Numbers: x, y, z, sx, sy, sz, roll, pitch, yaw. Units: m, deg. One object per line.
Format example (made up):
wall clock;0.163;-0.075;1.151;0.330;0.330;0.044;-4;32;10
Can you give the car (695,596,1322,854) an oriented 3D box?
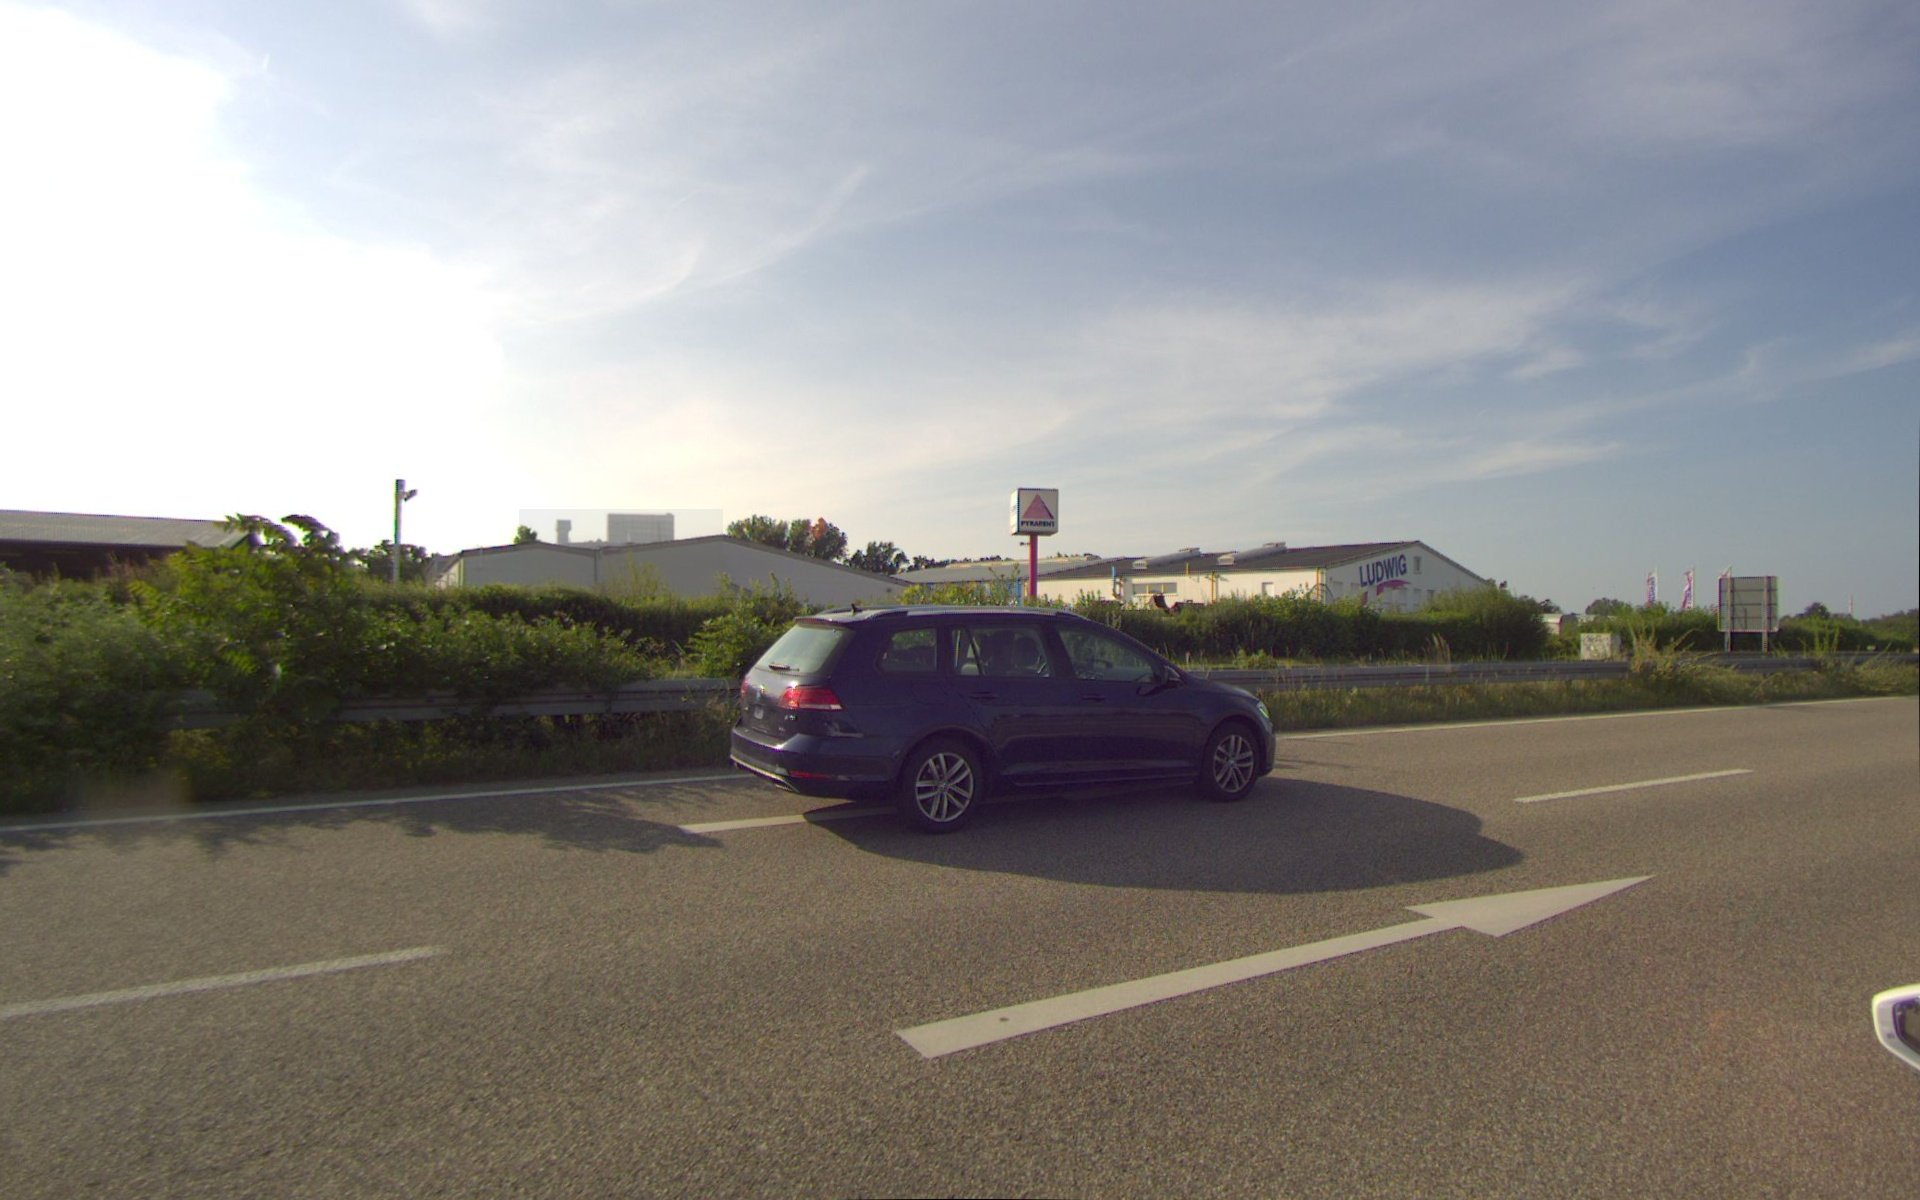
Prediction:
car;0.530;0.785;7.735;4.720;1.490;1.638;1;-1;-30
